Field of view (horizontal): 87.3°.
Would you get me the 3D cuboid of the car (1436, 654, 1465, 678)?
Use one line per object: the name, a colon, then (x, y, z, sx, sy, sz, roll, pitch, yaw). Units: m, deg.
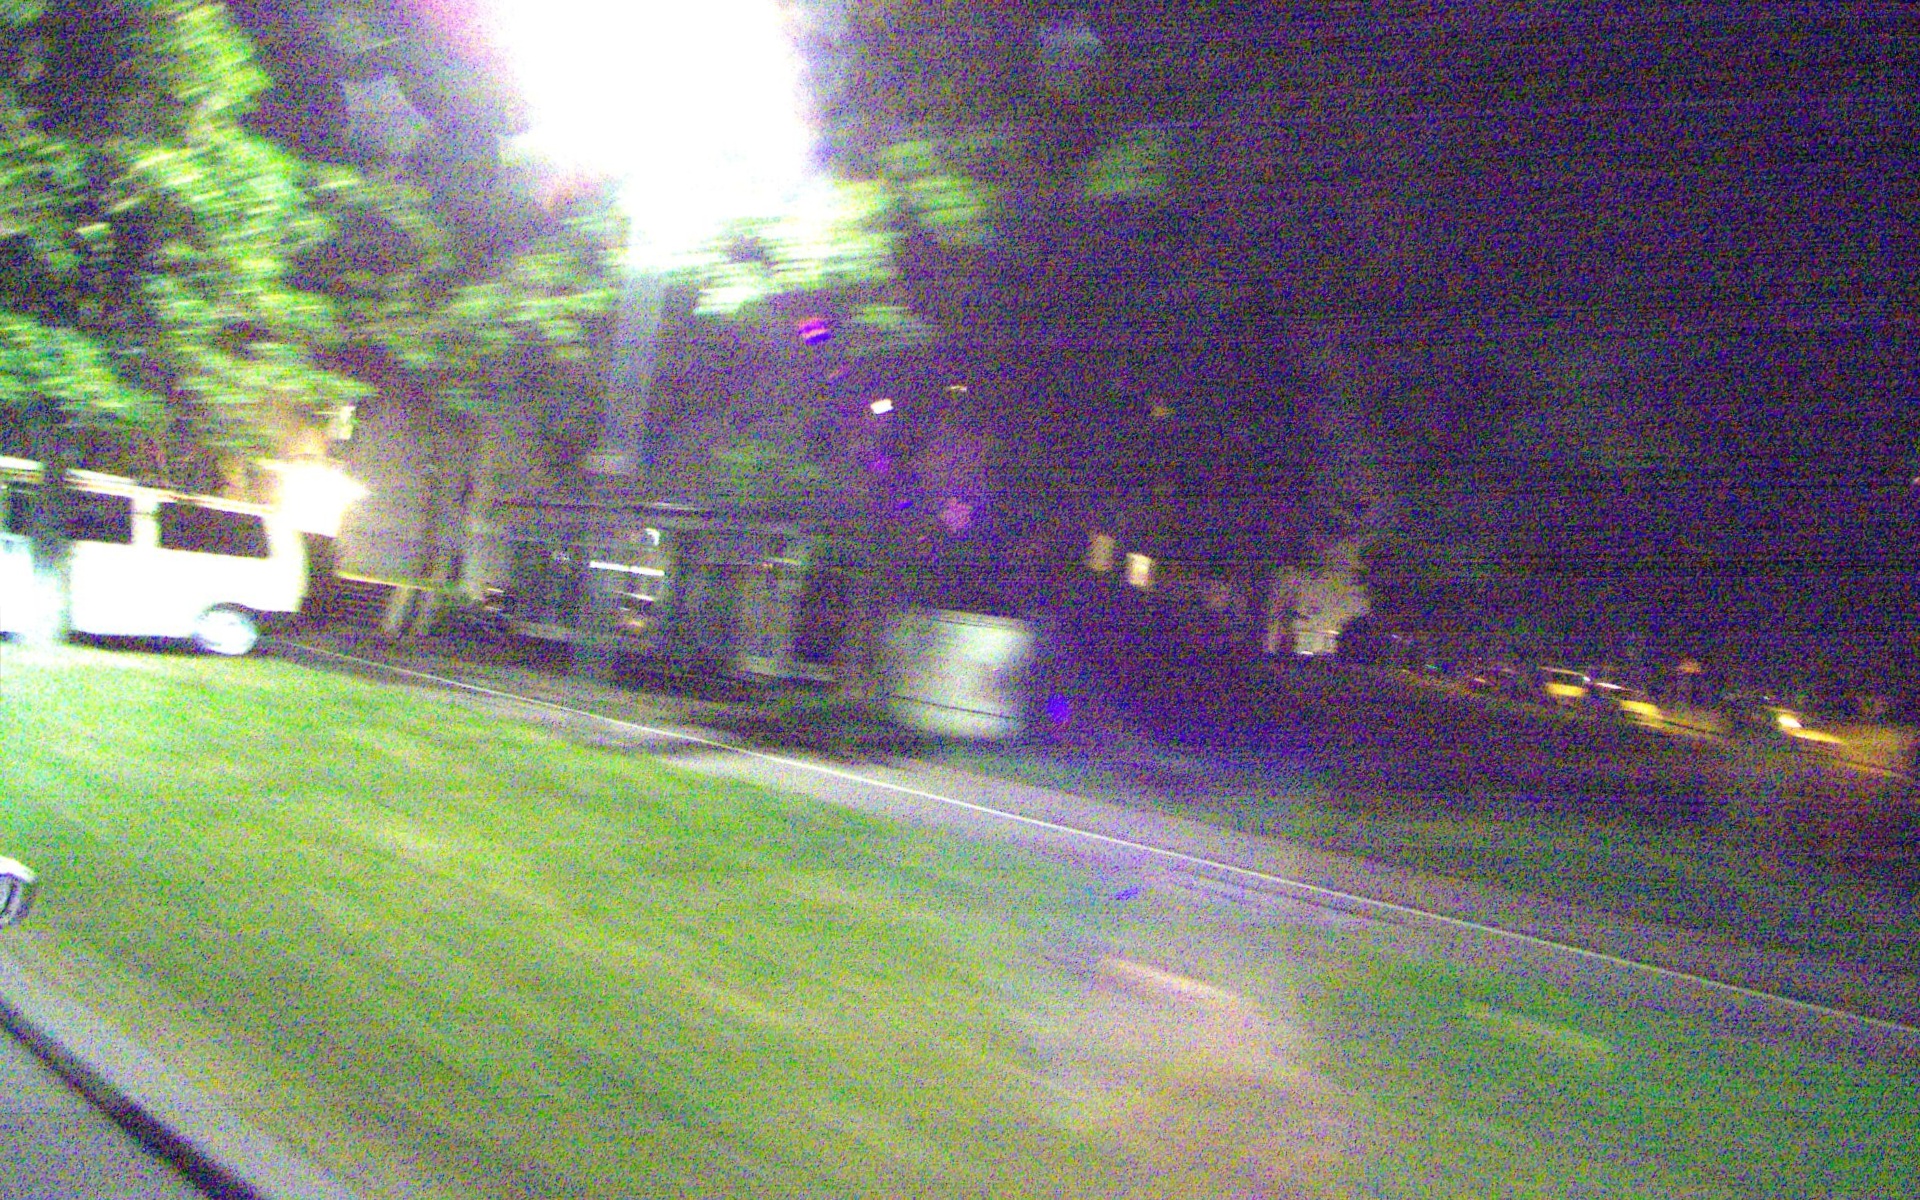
car: (39.220, 5.286, 80.396, 1.513, 1.691, 2.870, 7, 0, 35)

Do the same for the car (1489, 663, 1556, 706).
car: (27.232, 4.048, 48.853, 1.546, 1.691, 4.099, 7, -1, 13)

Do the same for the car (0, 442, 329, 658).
car: (-10.137, -0.596, 10.813, 2.066, 2.038, 5.192, 7, -1, 30)

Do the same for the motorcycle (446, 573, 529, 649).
motorcycle: (-10.331, 0.207, 21.927, 1.064, 1.342, 2.682, 9, -2, -34)

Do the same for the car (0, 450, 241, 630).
car: (-12.539, -0.895, 12.633, 2.066, 2.038, 5.192, 7, -1, 30)

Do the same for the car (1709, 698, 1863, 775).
car: (24.883, 4.070, 30.483, 1.637, 1.691, 3.542, 7, 0, 2)

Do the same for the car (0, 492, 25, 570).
car: (-21.321, -1.689, 18.804, 2.066, 1.543, 5.192, 7, -1, 30)

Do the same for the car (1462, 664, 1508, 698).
car: (30.926, 4.752, 59.325, 1.374, 1.691, 2.926, 7, 0, 9)

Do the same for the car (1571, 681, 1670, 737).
car: (25.451, 4.164, 38.913, 1.636, 1.691, 3.431, 7, 0, 6)

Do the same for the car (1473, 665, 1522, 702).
car: (29.151, 4.505, 54.630, 1.434, 1.691, 3.474, 7, -1, 16)

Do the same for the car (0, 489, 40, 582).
car: (-19.183, -1.447, 16.781, 2.066, 1.613, 5.192, 7, -1, 30)

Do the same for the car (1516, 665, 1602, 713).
car: (26.410, 3.885, 44.530, 1.804, 1.691, 4.416, 7, -1, 13)

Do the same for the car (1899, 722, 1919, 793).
car: (24.521, 3.988, 23.114, 1.730, 1.691, 4.330, 7, -1, 2)
